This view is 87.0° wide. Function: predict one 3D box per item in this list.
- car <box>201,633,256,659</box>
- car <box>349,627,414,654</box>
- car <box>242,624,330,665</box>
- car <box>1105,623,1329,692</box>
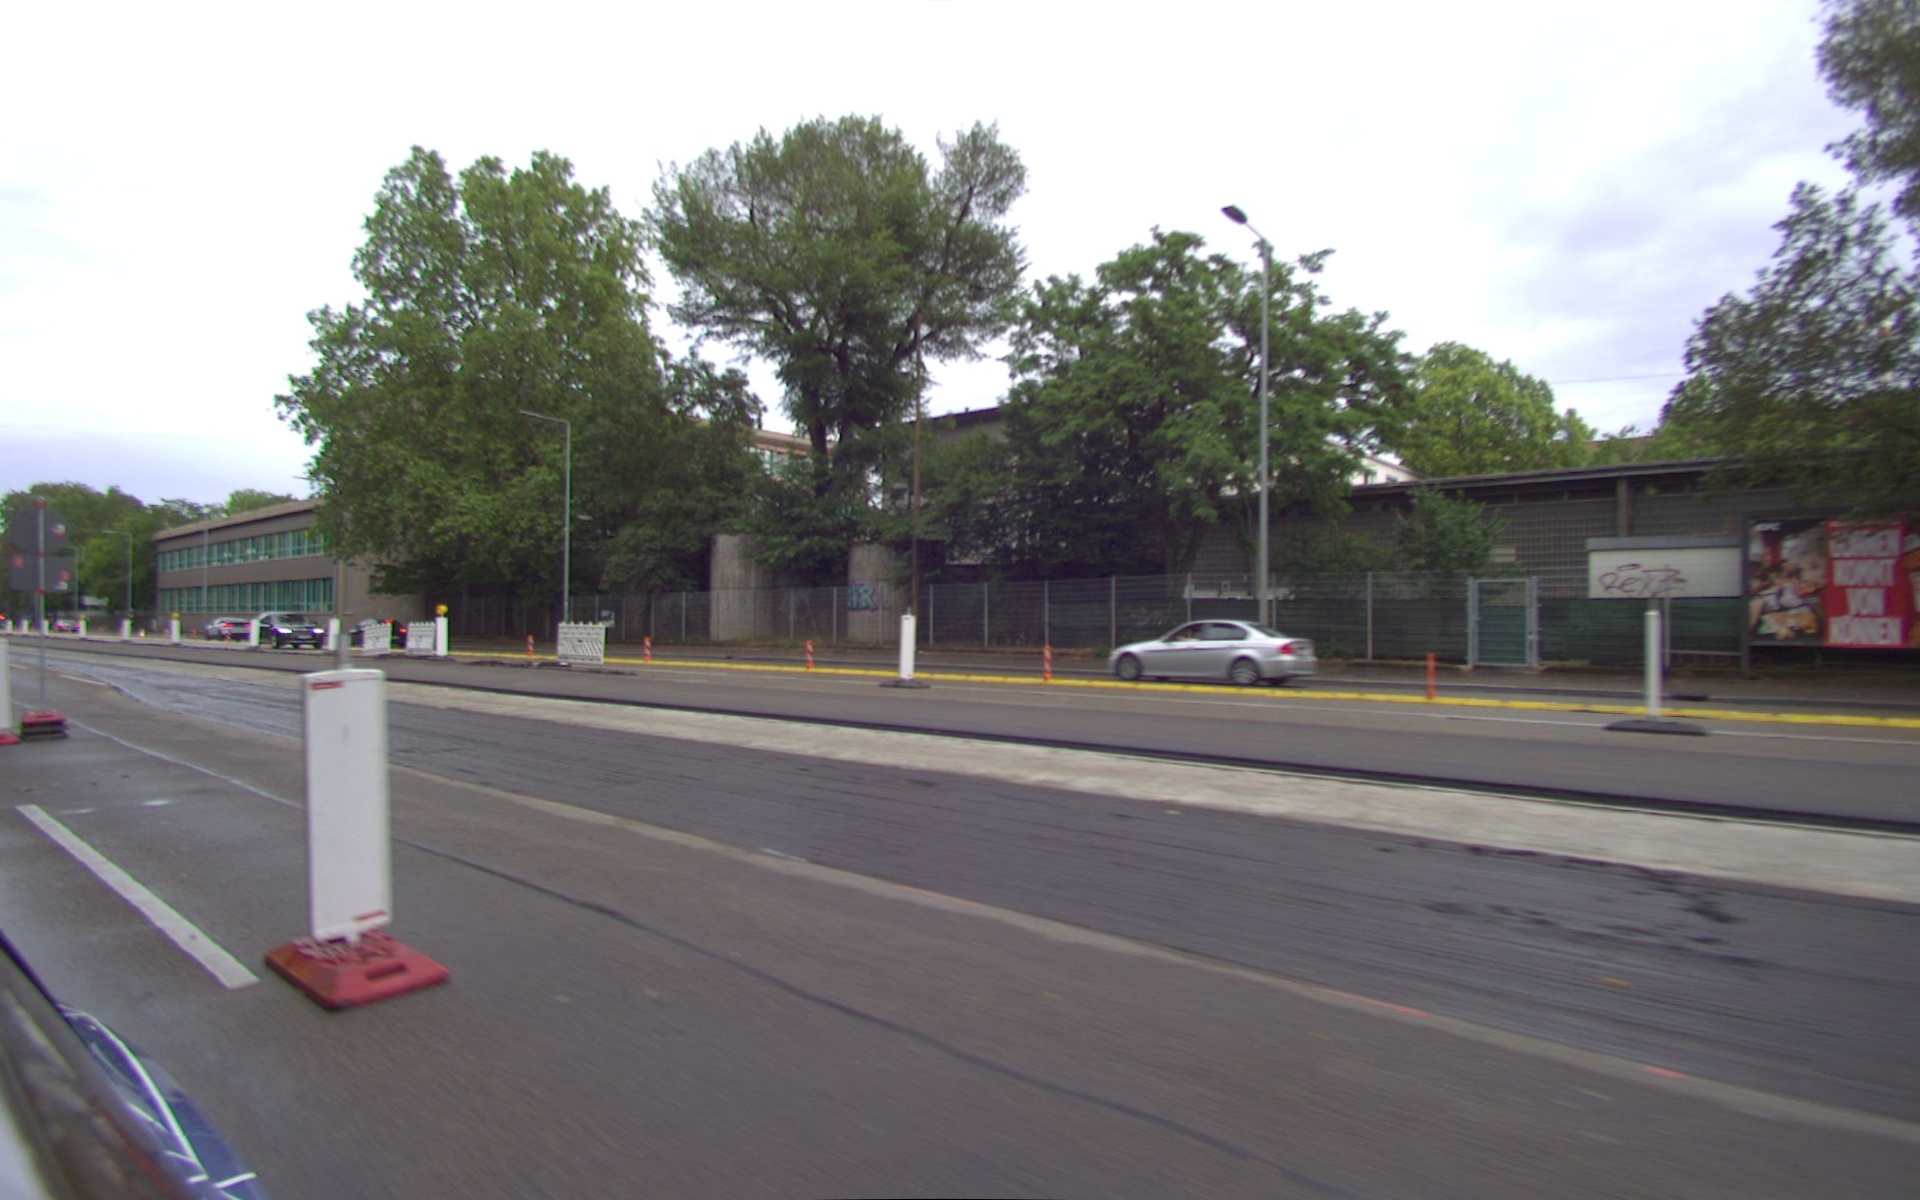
[{"bbox_3d":[-44.882,2.794,62.031,4.146,1.445,1.817,-1,-1,40],"label":"car"},{"bbox_3d":[-30.533,2.132,53.404,4.167,1.393,1.688,-2,-3,41],"label":"car"},{"bbox_3d":[-30.149,2.030,45.212,4.982,1.719,1.972,-3,-6,42],"label":"car"},{"bbox_3d":[5.447,1.207,21.818,4.452,1.325,1.649,-2,-4,41],"label":"car"}]
